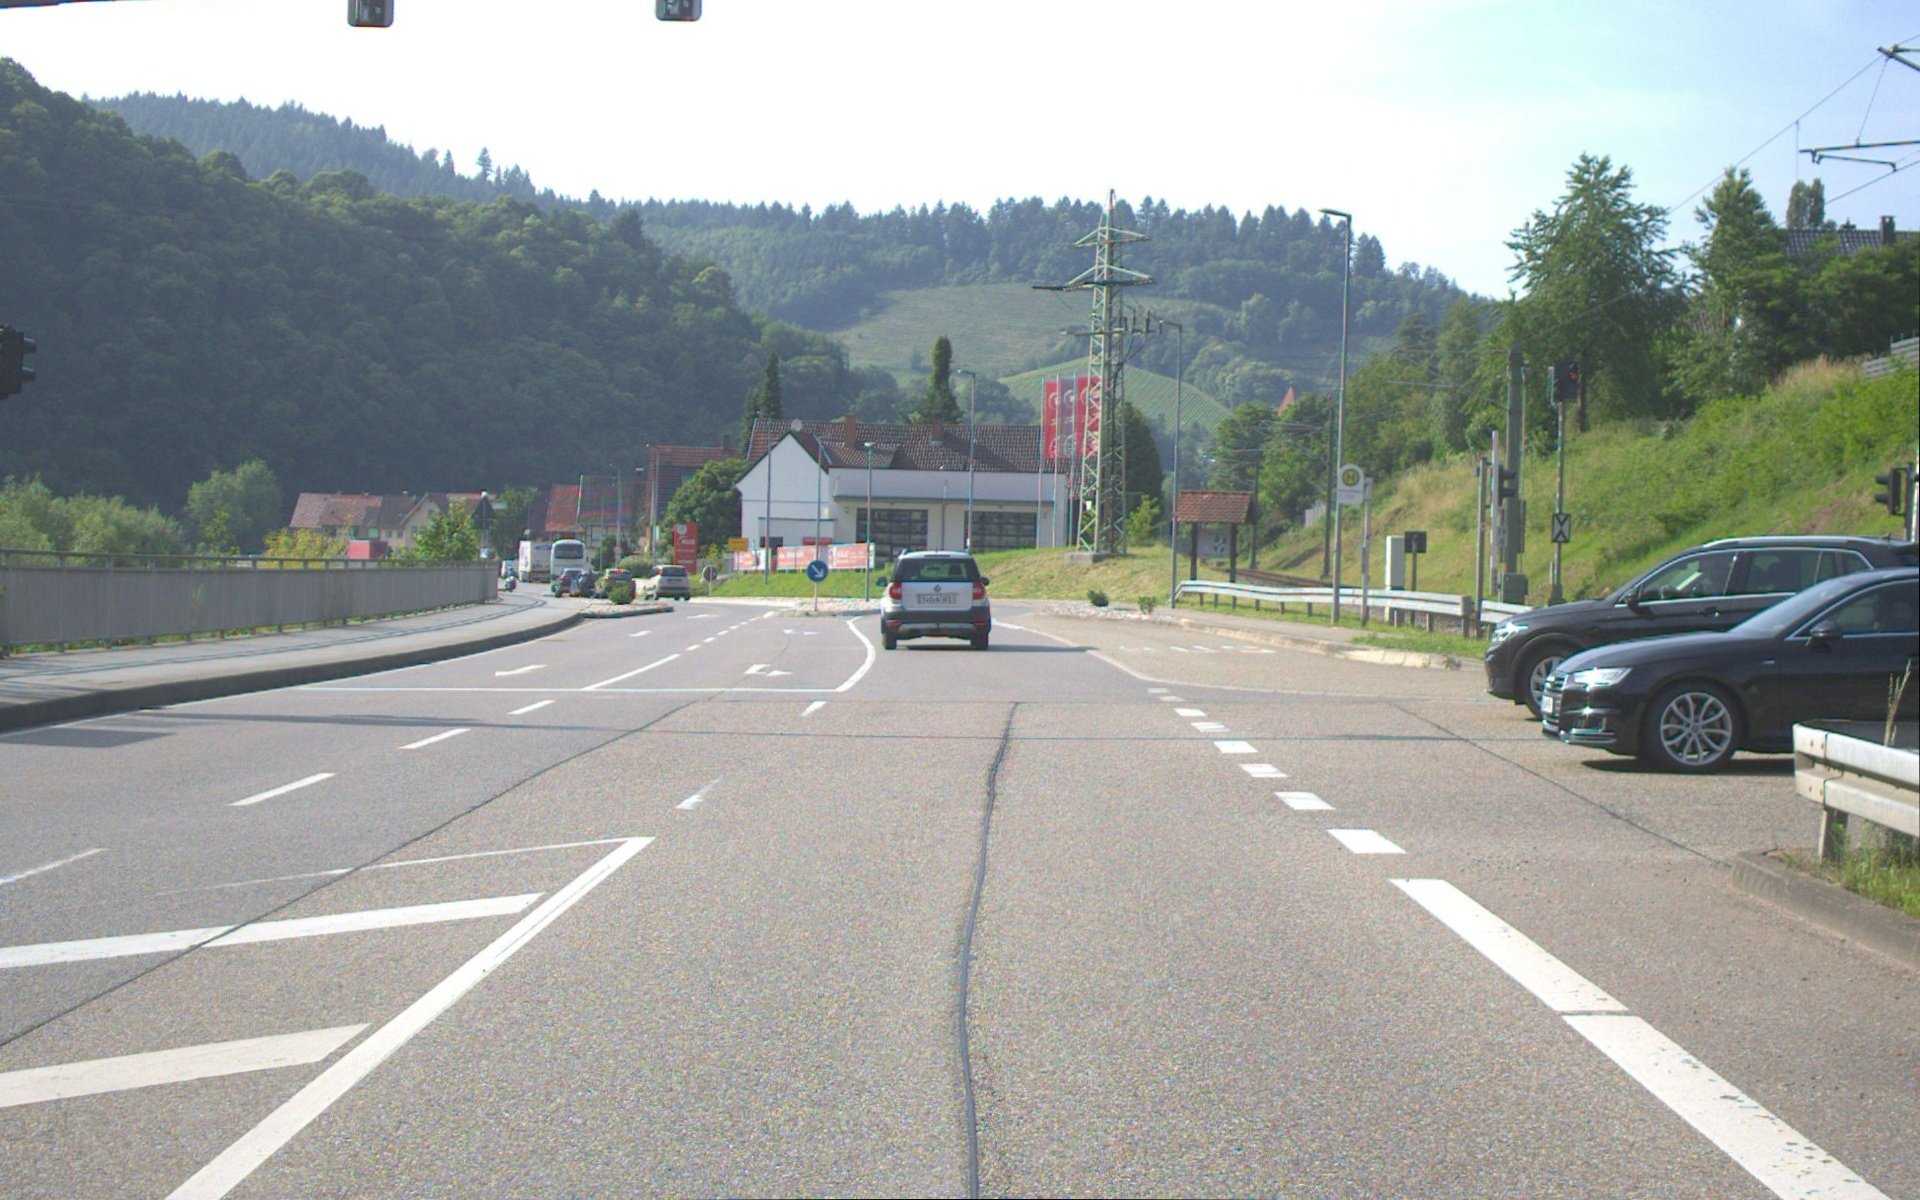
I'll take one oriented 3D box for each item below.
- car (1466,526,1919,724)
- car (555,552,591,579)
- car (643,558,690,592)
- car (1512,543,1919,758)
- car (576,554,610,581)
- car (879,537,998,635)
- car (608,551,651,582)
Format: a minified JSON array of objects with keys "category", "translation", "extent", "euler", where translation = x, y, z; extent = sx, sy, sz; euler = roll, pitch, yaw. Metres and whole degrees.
[{"category":"car","translation":[7.033,0.191,30.487],"extent":[4.731,1.654,1.928],"euler":[1,1,20]},{"category":"car","translation":[-22.608,-2.018,200.930],"extent":[1.453,1.430,2.937],"euler":[2,1,-19]},{"category":"car","translation":[-13.307,-1.123,155.914],"extent":[1.453,1.430,2.937],"euler":[2,1,-18]},{"category":"car","translation":[6.378,0.329,24.252],"extent":[4.726,1.465,1.842],"euler":[0,1,2]},{"category":"car","translation":[-19.789,-1.748,185.241],"extent":[1.232,1.430,2.641],"euler":[-1,2,-19]},{"category":"car","translation":[-0.328,-0.229,58.331],"extent":[1.861,1.539,4.373],"euler":[2,0,1]},{"category":"car","translation":[-16.550,-1.669,172.090],"extent":[1.453,1.430,2.937],"euler":[2,1,-19]}]
